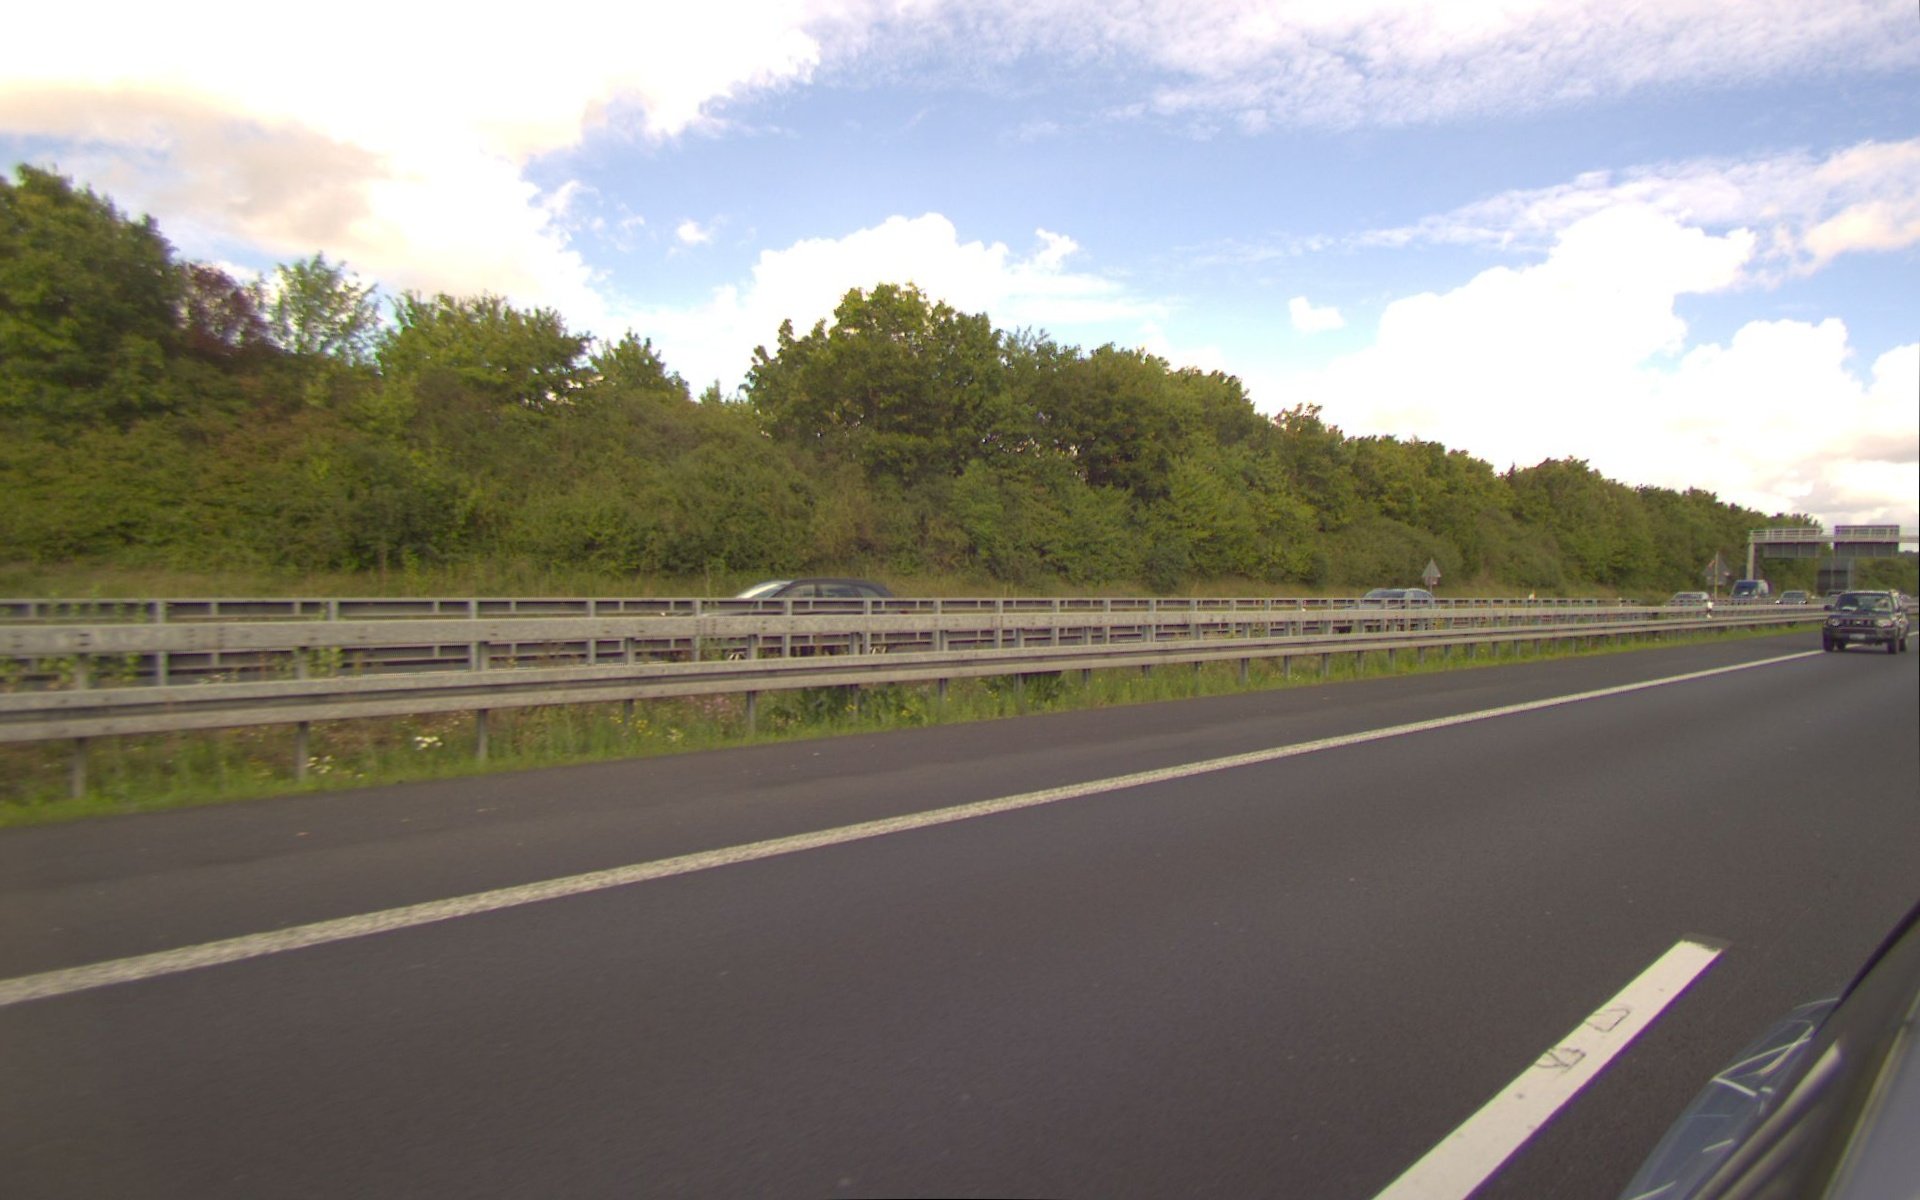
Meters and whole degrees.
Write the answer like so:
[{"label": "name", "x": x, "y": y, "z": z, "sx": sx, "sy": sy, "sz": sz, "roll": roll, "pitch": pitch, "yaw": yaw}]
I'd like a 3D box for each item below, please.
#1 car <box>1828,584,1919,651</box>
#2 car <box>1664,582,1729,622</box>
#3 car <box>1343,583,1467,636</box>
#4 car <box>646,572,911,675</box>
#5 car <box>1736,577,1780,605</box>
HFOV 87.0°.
[{"label": "car", "x": 26.229, "y": 0.441, "z": 28.760, "sx": 4.132, "sy": 1.754, "sz": 1.670, "roll": 0, "pitch": 2, "yaw": -40}, {"label": "car", "x": 40.289, "y": 0.061, "z": 55.351, "sx": 3.930, "sy": 2.038, "sz": 1.998, "roll": 0, "pitch": 3, "yaw": -41}, {"label": "car", "x": 13.912, "y": 0.250, "z": 31.555, "sx": 4.237, "sy": 1.503, "sz": 1.997, "roll": -1, "pitch": 2, "yaw": -42}, {"label": "car", "x": -2.967, "y": 0.306, "z": 16.939, "sx": 3.932, "sy": 1.503, "sz": 1.997, "roll": -1, "pitch": 2, "yaw": -42}, {"label": "car", "x": 65.178, "y": -0.751, "z": 82.615, "sx": 5.040, "sy": 2.212, "sz": 1.996, "roll": -1, "pitch": 2, "yaw": -42}]
